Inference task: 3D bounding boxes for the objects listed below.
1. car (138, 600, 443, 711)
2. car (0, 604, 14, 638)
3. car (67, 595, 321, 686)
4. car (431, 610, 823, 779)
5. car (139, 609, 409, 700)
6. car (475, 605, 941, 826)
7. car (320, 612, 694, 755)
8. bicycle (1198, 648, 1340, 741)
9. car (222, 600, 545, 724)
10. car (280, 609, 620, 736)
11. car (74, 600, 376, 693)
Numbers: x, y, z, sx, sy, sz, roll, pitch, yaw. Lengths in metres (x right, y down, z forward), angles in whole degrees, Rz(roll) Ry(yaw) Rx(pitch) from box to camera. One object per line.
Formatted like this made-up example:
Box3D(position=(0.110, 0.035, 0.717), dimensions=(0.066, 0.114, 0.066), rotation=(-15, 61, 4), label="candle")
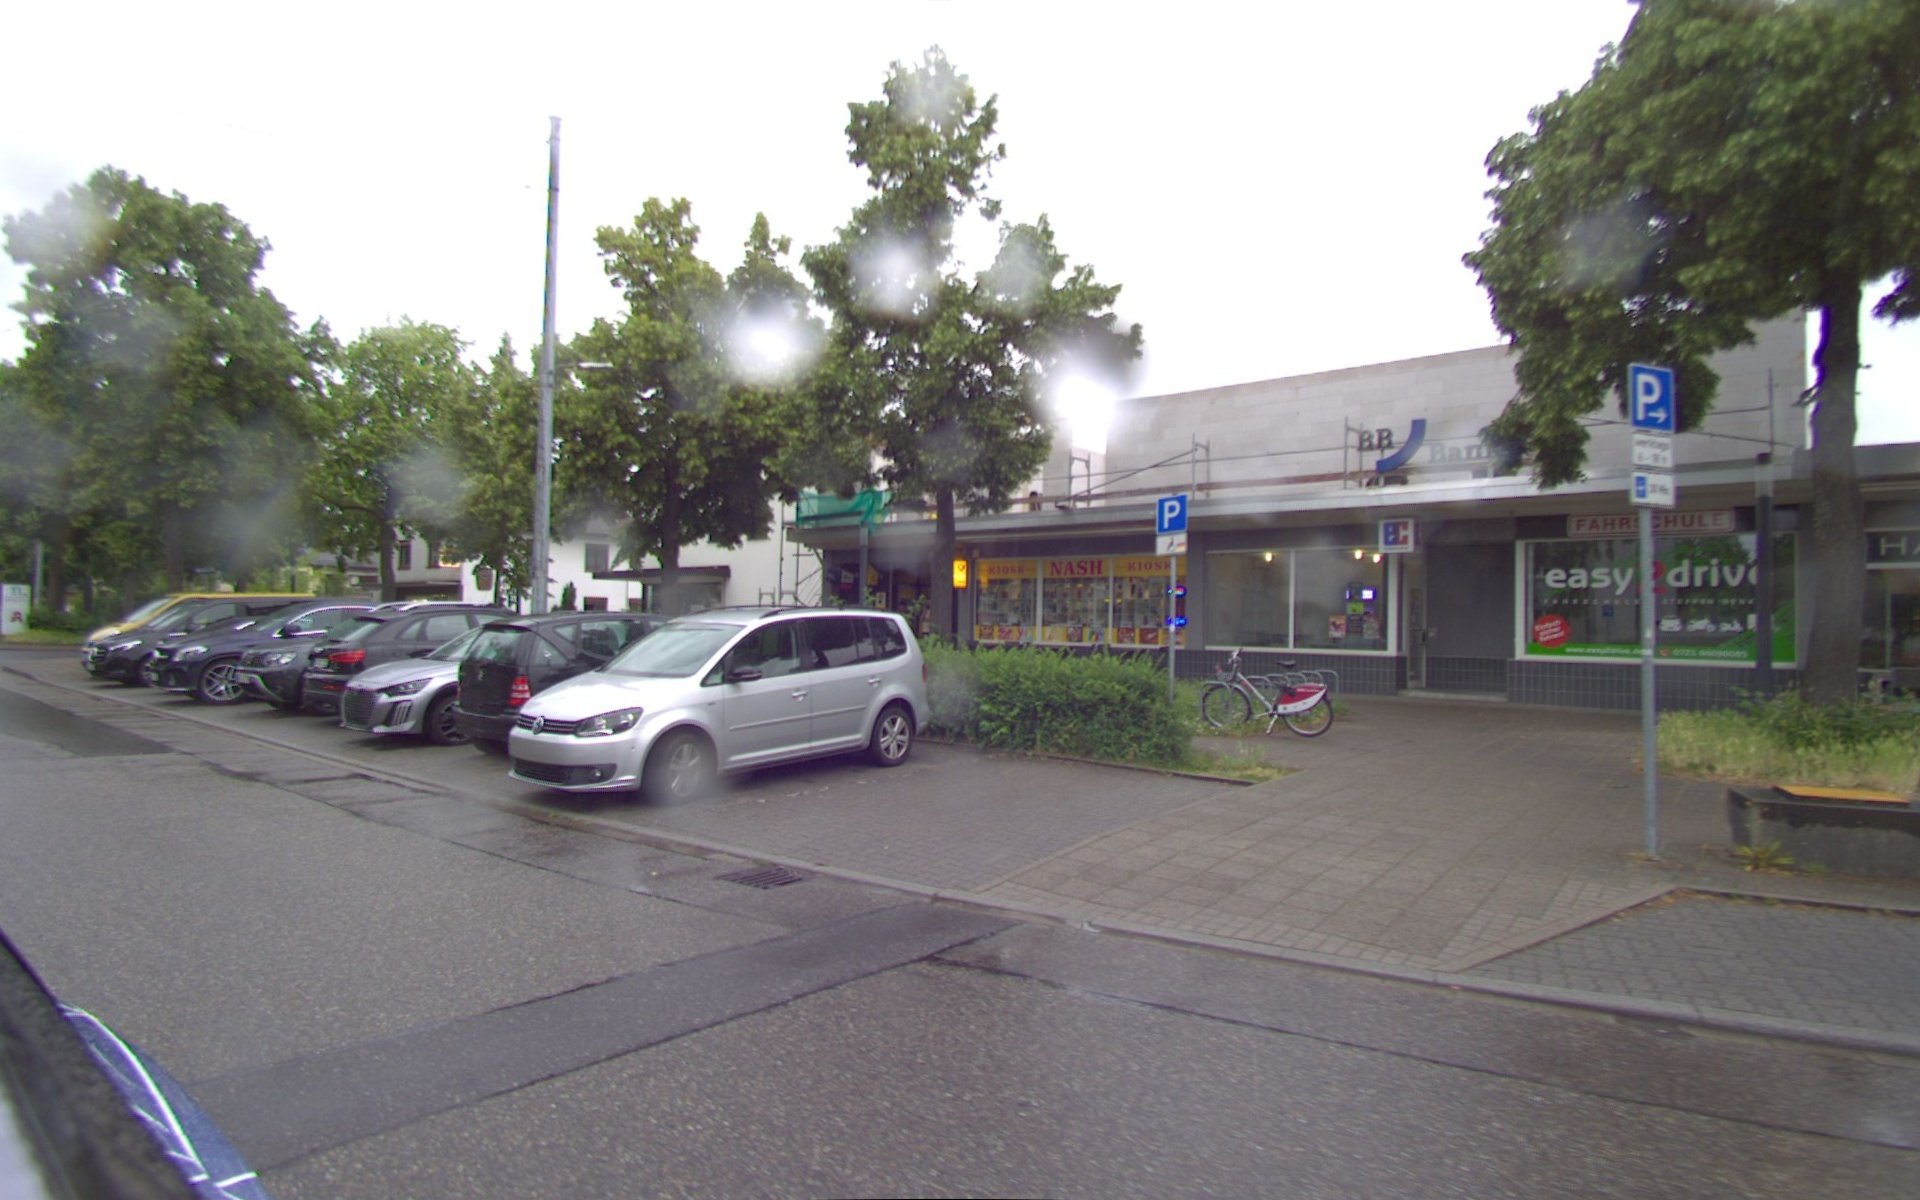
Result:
Box3D(position=(-11.798, 0.886, 18.098), dimensions=(1.713, 1.740, 4.231), rotation=(0, 0, 38), label="car")
Box3D(position=(-50.544, 1.091, 50.980), dimensions=(1.997, 1.698, 3.950), rotation=(0, 0, 37), label="car")
Box3D(position=(-18.277, 0.889, 24.359), dimensions=(1.713, 1.973, 4.600), rotation=(0, 0, 38), label="car")
Box3D(position=(-3.702, 0.934, 11.937), dimensions=(1.633, 1.577, 4.231), rotation=(0, 0, 38), label="car")
Box3D(position=(-13.785, 0.999, 20.554), dimensions=(1.713, 1.639, 4.231), rotation=(0, 0, 38), label="car")
Box3D(position=(-2.168, 0.876, 9.772), dimensions=(1.713, 1.647, 4.231), rotation=(0, 0, 38), label="car")
Box3D(position=(-5.787, 0.952, 13.399), dimensions=(1.713, 1.544, 4.231), rotation=(0, 0, 38), label="car")
Box3D(position=(3.995, 1.198, 13.137), dimensions=(1.739, 1.115, 0.316), rotation=(0, 0, 25), label="bicycle")
Box3D(position=(-9.174, 0.886, 16.425), dimensions=(1.713, 1.740, 4.231), rotation=(0, 0, 38), label="car")
Box3D(position=(-7.436, 0.944, 15.141), dimensions=(1.713, 1.607, 4.231), rotation=(0, 0, 38), label="car")
Box3D(position=(-15.964, 0.925, 22.287), dimensions=(1.713, 1.813, 5.114), rotation=(0, 0, 38), label="car")
